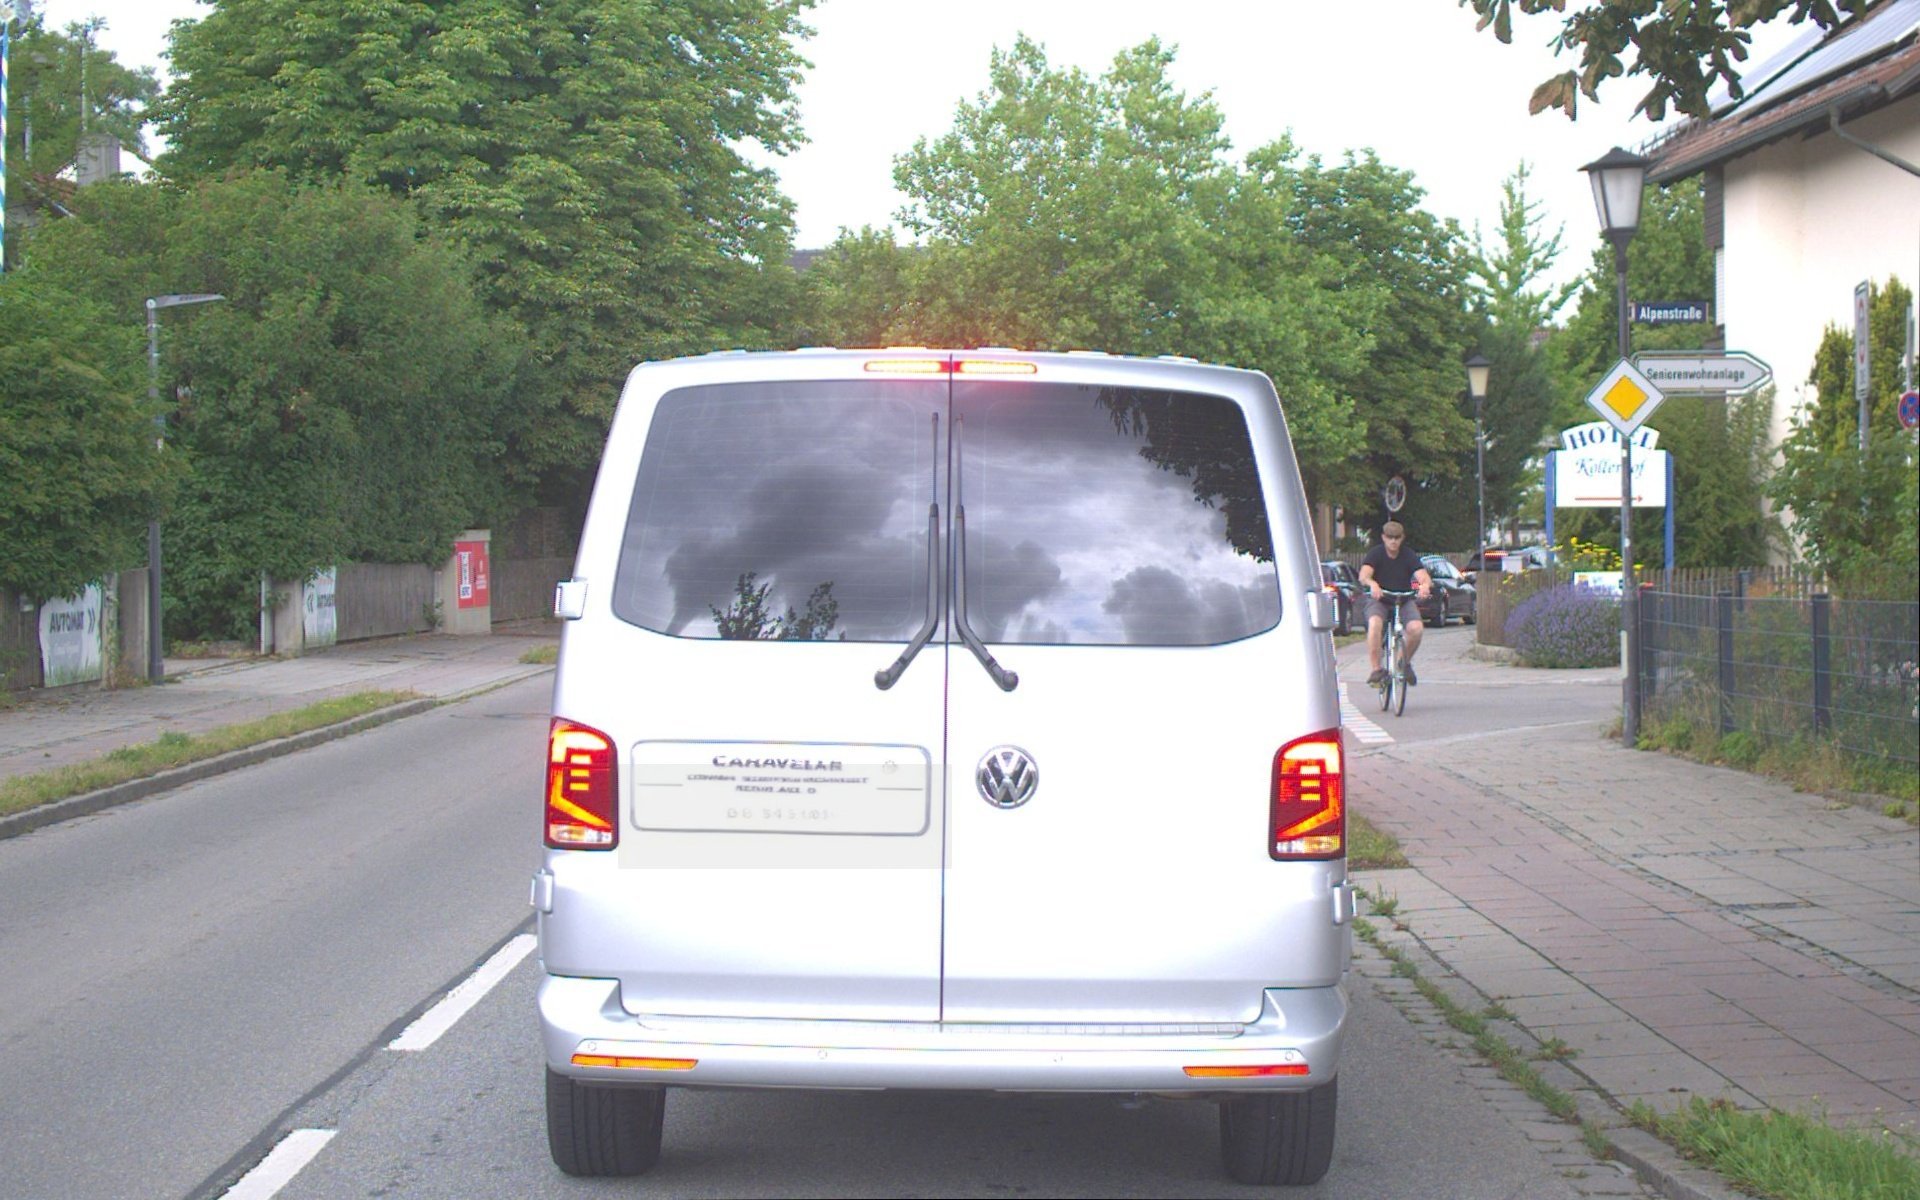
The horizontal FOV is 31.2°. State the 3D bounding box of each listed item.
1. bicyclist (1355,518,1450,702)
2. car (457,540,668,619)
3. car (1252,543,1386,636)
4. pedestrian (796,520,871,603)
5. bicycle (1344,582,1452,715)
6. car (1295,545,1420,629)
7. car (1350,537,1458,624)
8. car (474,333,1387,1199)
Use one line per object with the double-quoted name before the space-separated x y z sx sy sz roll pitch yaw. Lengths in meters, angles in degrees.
"bicyclist" 3.973 0.082 30.920 0.736 1.627 0.890 0 1 1
"car" -7.718 -0.405 66.592 3.986 1.481 2.001 0 1 -8
"car" 6.177 -0.203 58.784 1.882 1.530 3.919 0 1 12
"pedestrian" -2.753 -0.842 74.905 1.067 1.796 1.321 1 1 31
"bicycle" 3.926 0.418 30.927 0.764 1.139 1.845 0 1 1
"car" 7.527 -0.276 64.823 1.882 1.530 3.918 0 1 14
"car" 9.285 -0.429 71.667 1.882 1.742 4.078 0 1 12
"car" -0.044 0.388 9.057 1.881 1.934 3.921 0 1 1
